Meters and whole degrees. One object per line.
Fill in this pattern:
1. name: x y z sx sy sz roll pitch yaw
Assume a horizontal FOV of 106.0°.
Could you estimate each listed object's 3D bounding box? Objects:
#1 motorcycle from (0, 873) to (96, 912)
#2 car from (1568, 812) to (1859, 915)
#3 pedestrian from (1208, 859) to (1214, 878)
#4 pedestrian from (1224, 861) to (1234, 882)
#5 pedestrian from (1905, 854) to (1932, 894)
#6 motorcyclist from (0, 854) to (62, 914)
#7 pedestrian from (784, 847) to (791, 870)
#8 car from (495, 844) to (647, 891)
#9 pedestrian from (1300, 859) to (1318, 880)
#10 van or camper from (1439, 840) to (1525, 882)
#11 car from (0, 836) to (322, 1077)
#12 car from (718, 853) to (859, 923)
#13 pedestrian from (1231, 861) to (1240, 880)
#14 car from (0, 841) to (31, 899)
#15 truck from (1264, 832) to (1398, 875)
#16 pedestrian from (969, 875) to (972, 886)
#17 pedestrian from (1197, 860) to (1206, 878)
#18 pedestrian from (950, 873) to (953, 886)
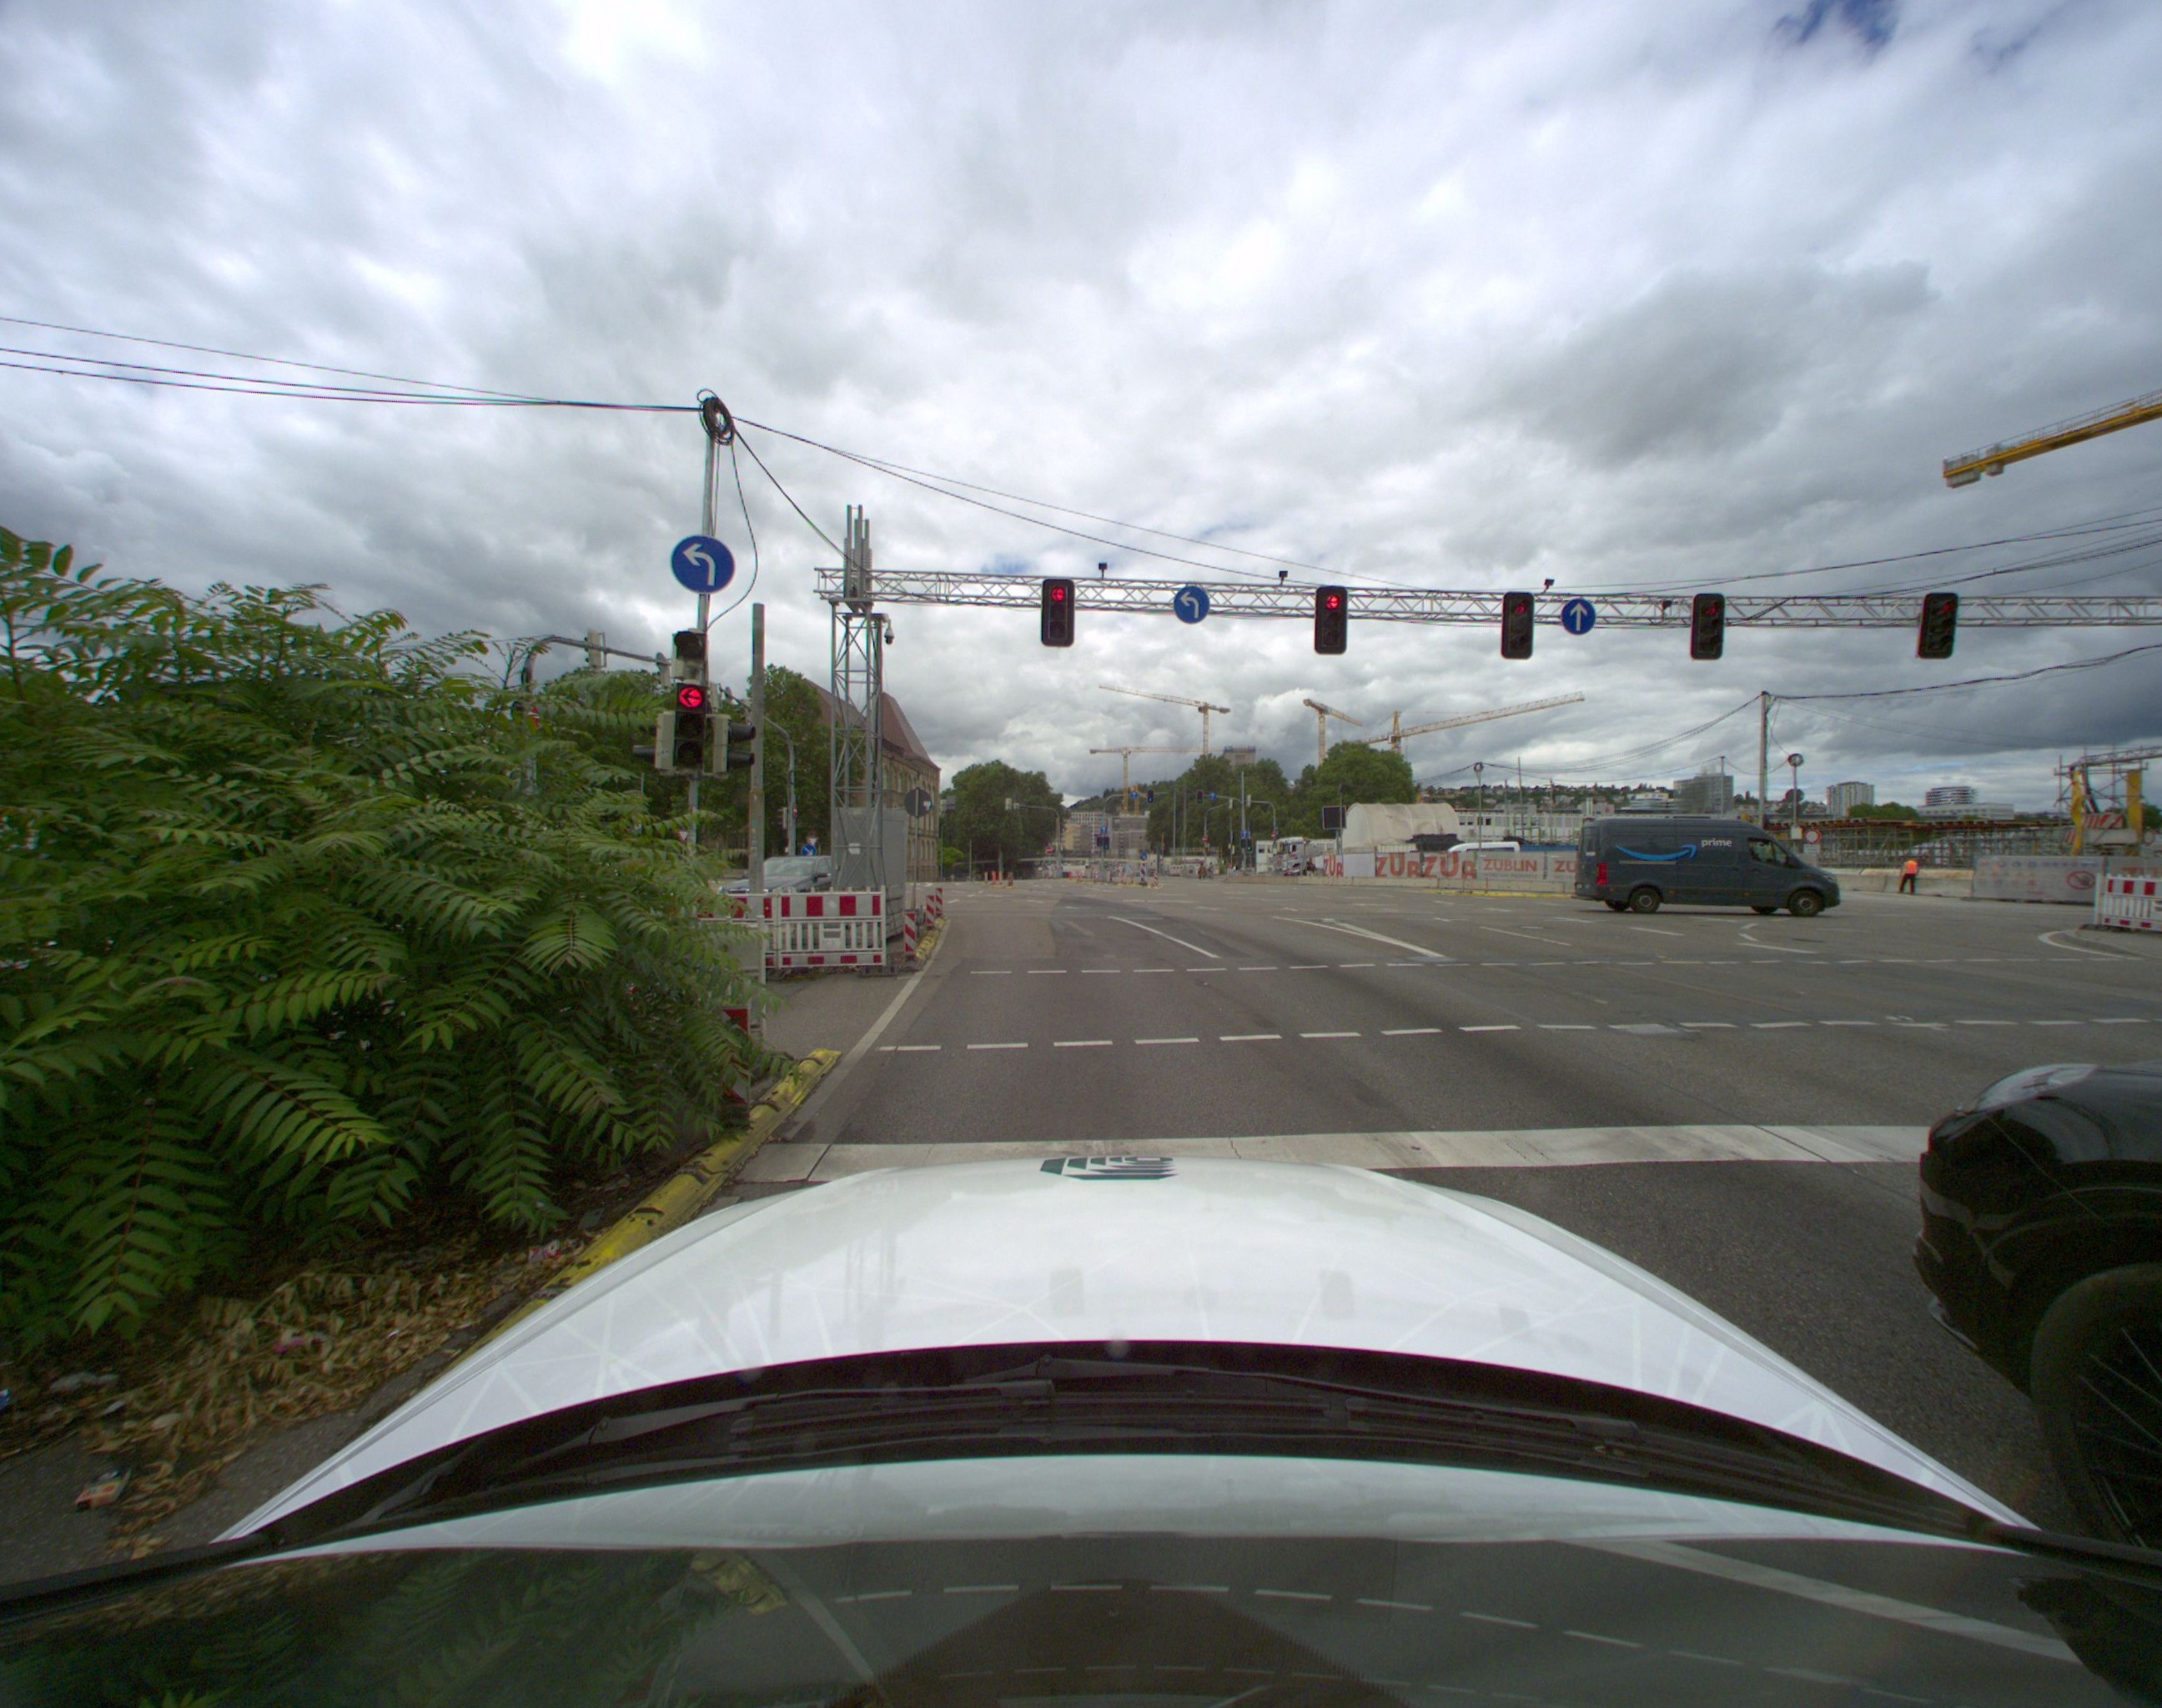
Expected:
1. motorcycle: -25.524 0.932 19.814 2.051 0.924 0.756 0 0 -4
2. car: 16.917 0.228 22.174 5.951 2.594 2.072 0 0 14
3. pedestrian: 12.088 1.356 75.766 0.564 1.689 0.472 0 0 1
4. pedestrian: 12.253 1.452 67.403 0.726 1.689 0.678 0 0 1
5. pedestrian: 38.601 0.911 37.550 0.651 1.795 0.617 0 0 -7
6. motorcyclist: -25.746 0.710 19.794 0.963 1.423 0.745 0 0 -4
7. pedestrian: -26.723 0.409 74.123 0.530 2.014 0.423 1 -1 -42
8. car: -18.821 0.494 30.255 4.315 1.676 1.992 0 0 -12
9. pedestrian: 15.148 1.054 54.129 0.797 1.378 0.901 0 0 -13
10. van or camper: 23.150 0.416 47.206 4.181 2.357 2.009 0 0 16
11. car: -7.946 0.674 5.648 1.691 1.589 3.883 0 0 0
12. car: -6.832 0.725 19.576 1.695 1.471 4.629 0 0 0
13. pedestrian: 14.557 1.547 76.761 0.615 1.689 0.716 0 0 31
14. car: -33.755 0.458 23.418 4.302 1.676 1.998 0 0 -3
15. truck: 25.039 -0.036 81.592 13.062 4.041 3.926 0 0 -18
16. pedestrian: -21.542 5.210 159.051 0.522 2.014 0.567 0 0 2
17. pedestrian: 11.228 1.379 75.764 0.726 1.689 0.678 0 0 1
18. pedestrian: -21.551 4.248 135.432 0.522 2.014 0.567 0 0 2
